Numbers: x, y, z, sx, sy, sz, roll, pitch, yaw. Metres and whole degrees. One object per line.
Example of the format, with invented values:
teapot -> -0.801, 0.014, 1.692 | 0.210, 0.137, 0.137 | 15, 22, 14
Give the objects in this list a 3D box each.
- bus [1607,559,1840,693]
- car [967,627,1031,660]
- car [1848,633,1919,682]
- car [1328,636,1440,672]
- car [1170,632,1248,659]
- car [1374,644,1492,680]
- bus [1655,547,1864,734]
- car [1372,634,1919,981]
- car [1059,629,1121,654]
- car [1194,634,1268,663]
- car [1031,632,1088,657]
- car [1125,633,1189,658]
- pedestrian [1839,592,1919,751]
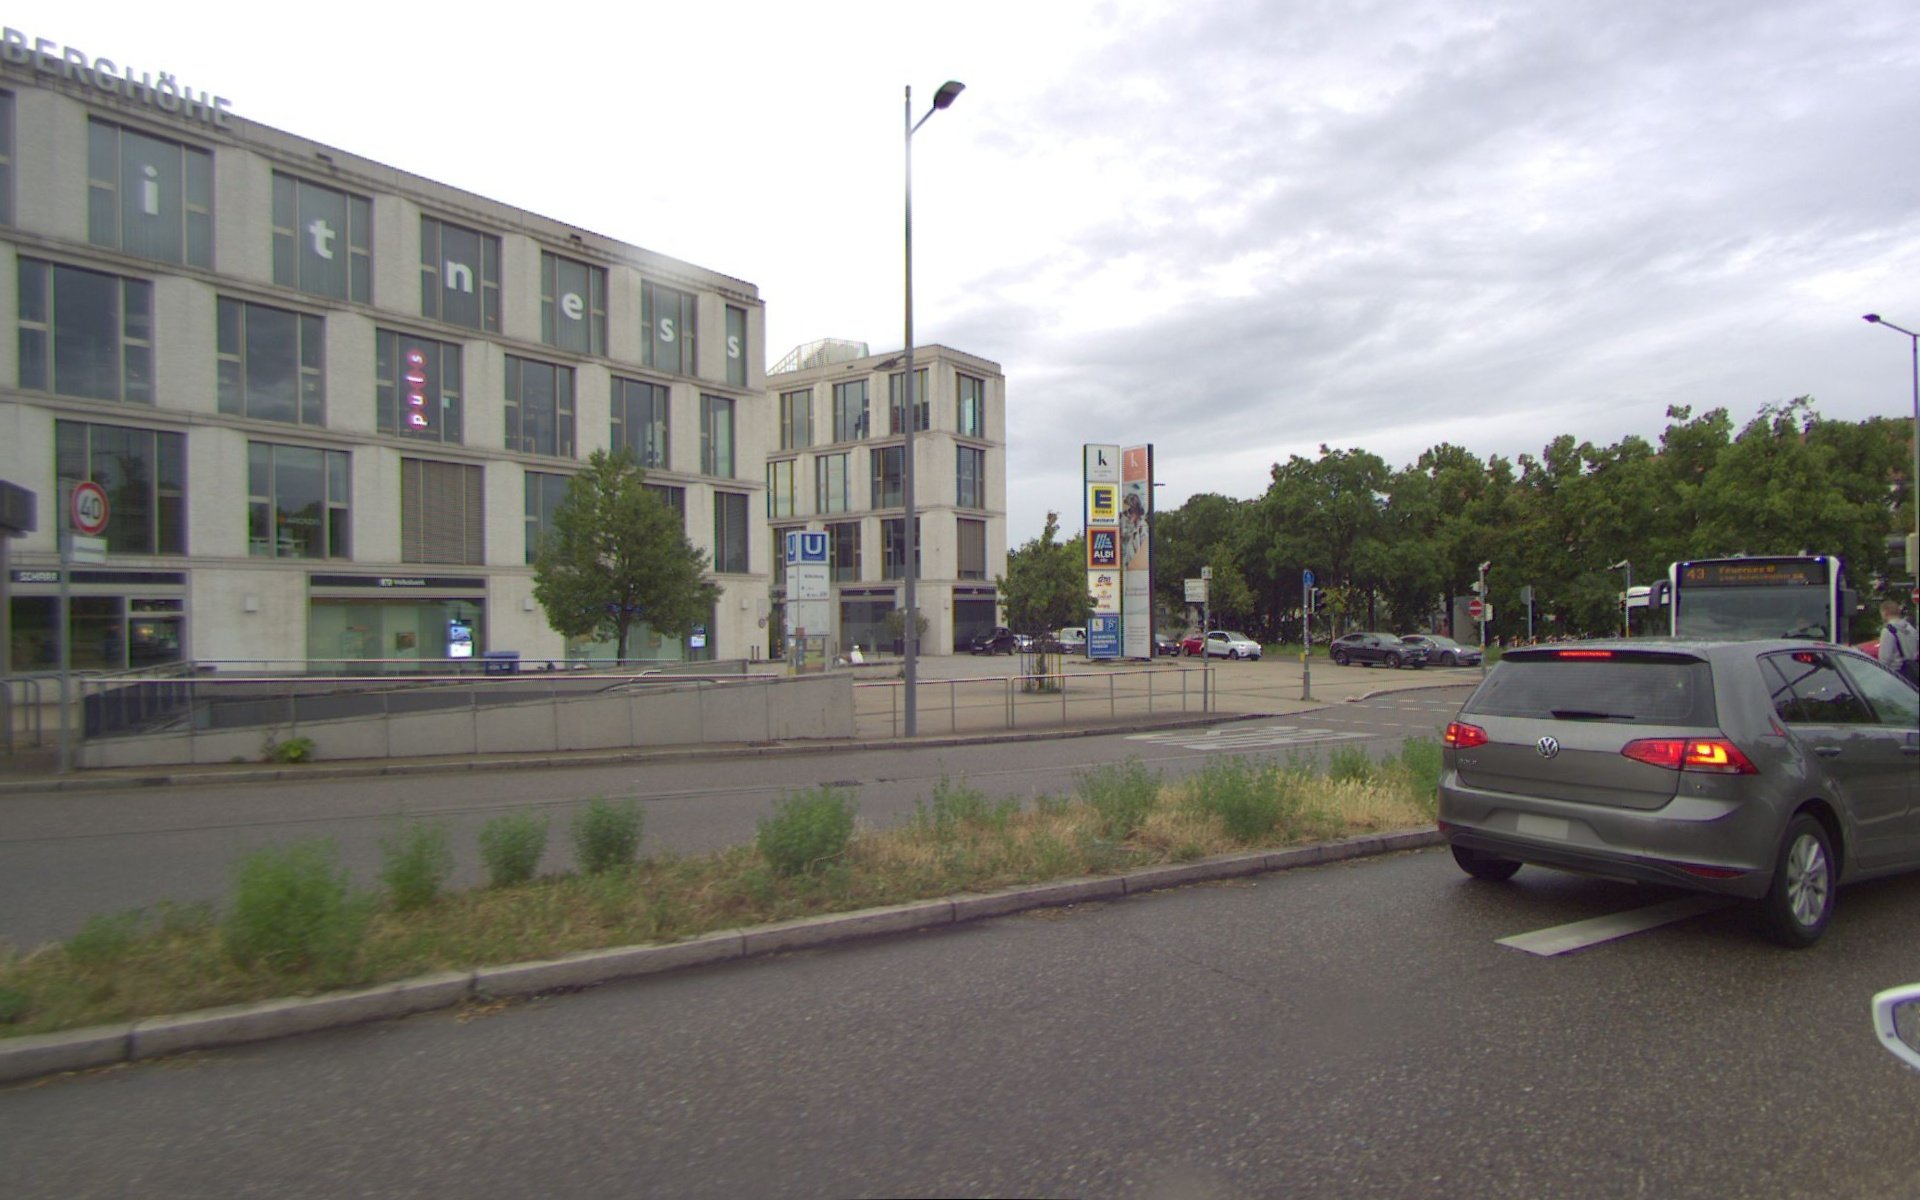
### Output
bus -> 22.091, 0.793, 29.753 | 2.840, 3.351, 8.578 | 0, -2, 18
car -> 2.203, 2.373, 55.816 | 1.749, 1.754, 3.989 | -1, -2, 33
car -> 30.178, 1.763, 30.539 | 1.982, 1.444, 4.472 | 1, -1, -37
car -> 19.131, 2.417, 45.544 | 1.976, 1.444, 4.426 | 1, -1, -29
car -> 14.911, 2.701, 60.403 | 1.977, 1.444, 4.504 | 1, -1, -31
car -> 21.889, 2.820, 46.718 | 1.823, 1.444, 4.841 | 1, -1, -29
bus -> 17.072, 0.836, 21.569 | 2.853, 3.144, 9.715 | -1, -2, 39
car -> 4.628, 0.958, 6.044 | 4.147, 1.448, 1.798 | 1, -4, -30
car -> 8.734, 2.779, 67.888 | 1.939, 1.550, 4.511 | 1, -1, -29
car -> 14.760, 2.639, 54.947 | 1.823, 1.444, 3.756 | 1, -1, -29
car -> 6.325, 2.821, 64.351 | 1.648, 1.444, 3.949 | 1, -1, -29
car -> 12.000, 2.746, 61.313 | 1.823, 1.444, 3.756 | 1, -1, -29
pedestrian -> 12.598, 0.945, 13.405 | 0.835, 2.039, 0.938 | 1, -4, -23
